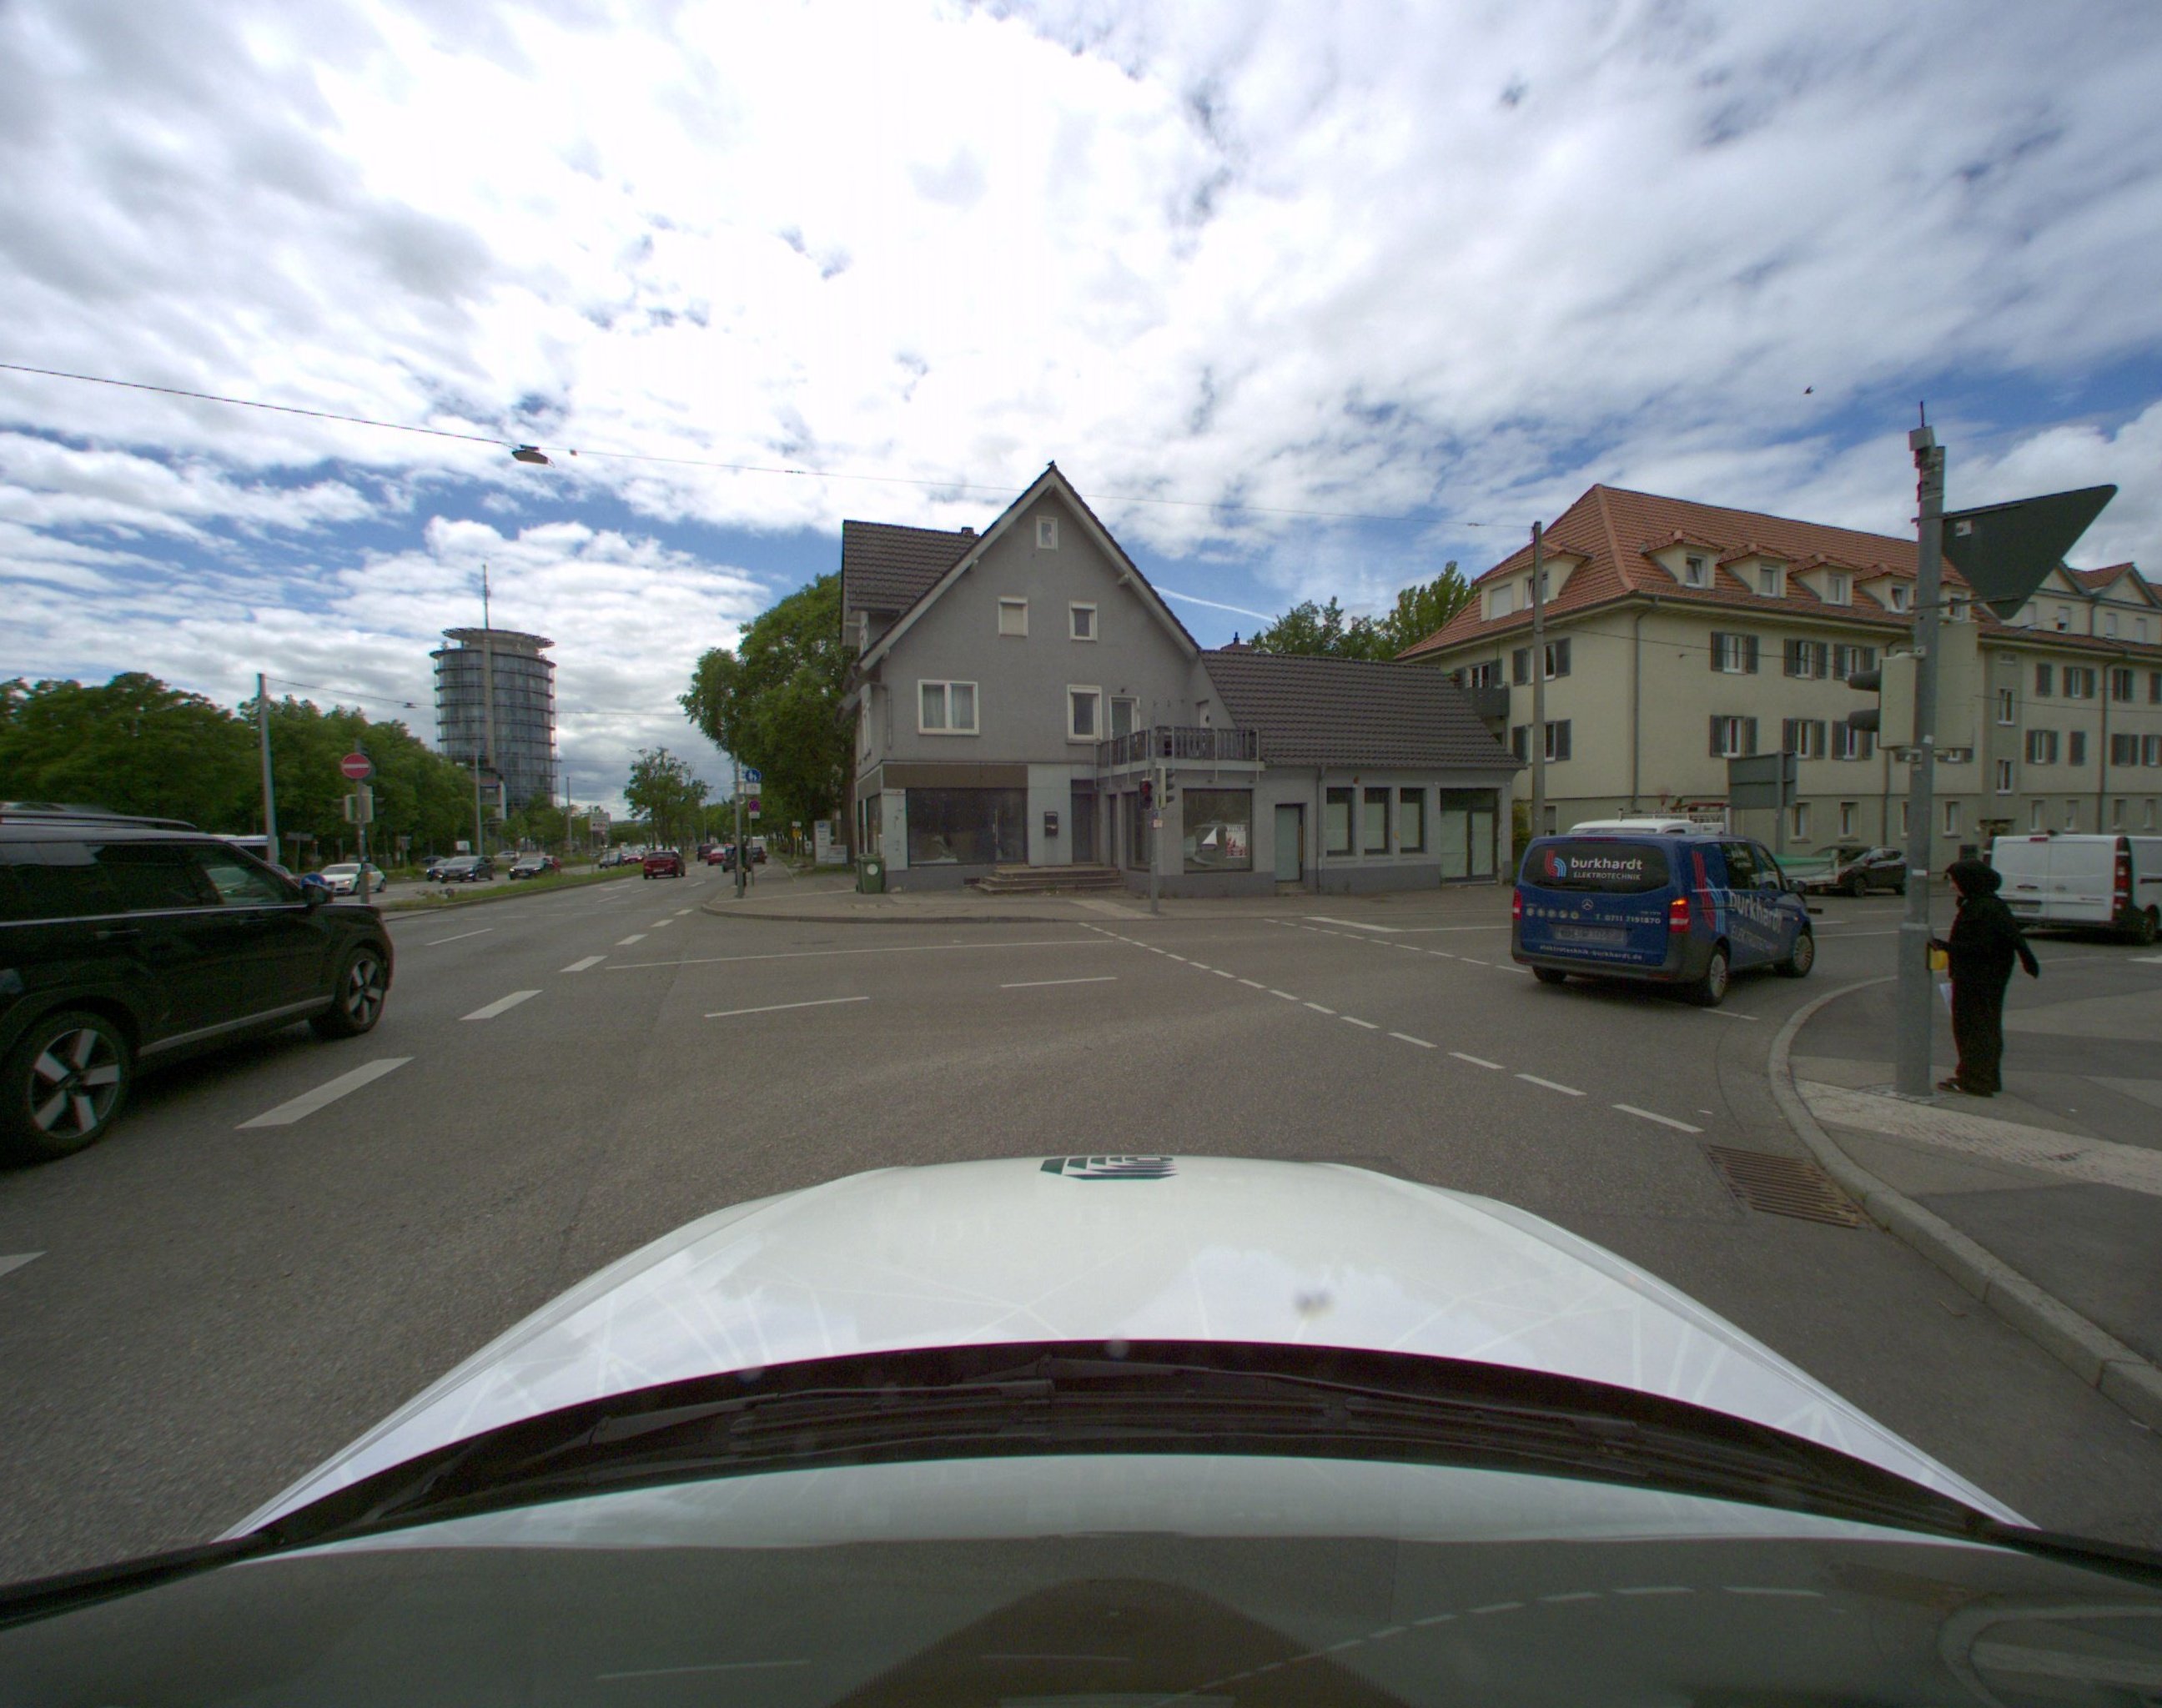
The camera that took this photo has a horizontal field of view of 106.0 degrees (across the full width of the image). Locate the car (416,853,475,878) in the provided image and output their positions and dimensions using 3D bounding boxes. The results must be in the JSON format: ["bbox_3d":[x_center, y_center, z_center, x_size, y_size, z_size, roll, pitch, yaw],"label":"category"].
[{"bbox_3d":[-43.291,0.730,55.580,2.001,1.574,3.972,-2,1,-21],"label":"car"}]

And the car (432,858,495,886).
[{"bbox_3d":[-38.000,1.063,50.198,2.001,1.574,3.972,-2,1,-21],"label":"car"}]

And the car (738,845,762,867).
[{"bbox_3d":[-28.352,0.148,69.788,1.753,1.723,3.972,-2,1,-21],"label":"car"}]

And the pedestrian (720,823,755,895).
[{"bbox_3d":[-10.005,0.135,23.740,0.772,2.013,0.873,-2,1,-14],"label":"pedestrian"}]

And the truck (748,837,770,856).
[{"bbox_3d":[-38.234,-0.919,96.788,1.999,2.165,5.525,1,0,-18],"label":"truck"}]

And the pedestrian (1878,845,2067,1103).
[{"bbox_3d":[5.979,0.758,5.484,0.607,1.597,0.605,0,-3,-20],"label":"pedestrian"}]

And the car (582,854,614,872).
[{"bbox_3d":[-46.258,0.834,78.019,2.002,1.574,3.971,-2,1,-22],"label":"car"}]

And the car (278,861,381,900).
[{"bbox_3d":[-33.651,1.137,36.650,2.003,1.507,4.457,-1,1,-24],"label":"car"}]

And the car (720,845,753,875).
[{"bbox_3d":[-21.630,0.351,51.205,1.753,1.723,3.971,-2,1,-22],"label":"car"}]

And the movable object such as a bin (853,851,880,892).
[{"bbox_3d":[-5.978,0.470,22.712,0.600,1.101,0.568,-2,1,-27],"label":"movable object such as a bin"}]

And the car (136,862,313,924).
[{"bbox_3d":[-24.651,1.044,23.666,2.001,1.516,3.971,-2,1,-22],"label":"car"}]

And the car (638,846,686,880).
[{"bbox_3d":[-23.104,0.459,45.002,1.752,1.723,3.974,-2,1,-19],"label":"car"}]

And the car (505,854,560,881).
[{"bbox_3d":[-35.089,0.848,52.183,2.001,1.574,3.972,-2,1,-21],"label":"car"}]

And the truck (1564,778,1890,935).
[{"bbox_3d":[12.773,0.069,16.069,6.407,2.701,1.987,0,0,-20],"label":"truck"}]

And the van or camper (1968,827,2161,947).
[{"bbox_3d":[19.722,0.534,15.496,5.095,2.013,1.987,0,2,-20],"label":"van or camper"}]

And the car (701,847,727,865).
[{"bbox_3d":[-32.510,0.199,72.176,1.879,1.486,3.964,-2,0,-27],"label":"car"}]

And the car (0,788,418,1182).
[{"bbox_3d":[-6.298,0.580,5.002,1.928,1.751,4.649,-1,1,-19],"label":"car"}]

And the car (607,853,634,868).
[{"bbox_3d":[-51.431,0.716,90.976,2.002,1.574,3.971,-2,1,-22],"label":"car"}]

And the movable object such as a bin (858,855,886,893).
[{"bbox_3d":[-5.693,0.531,22.183,0.600,0.987,0.568,-2,1,-27],"label":"movable object such as a bin"}]

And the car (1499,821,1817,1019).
[{"bbox_3d":[7.372,0.628,10.243,4.562,1.965,1.933,-1,0,-36],"label":"car"}]
